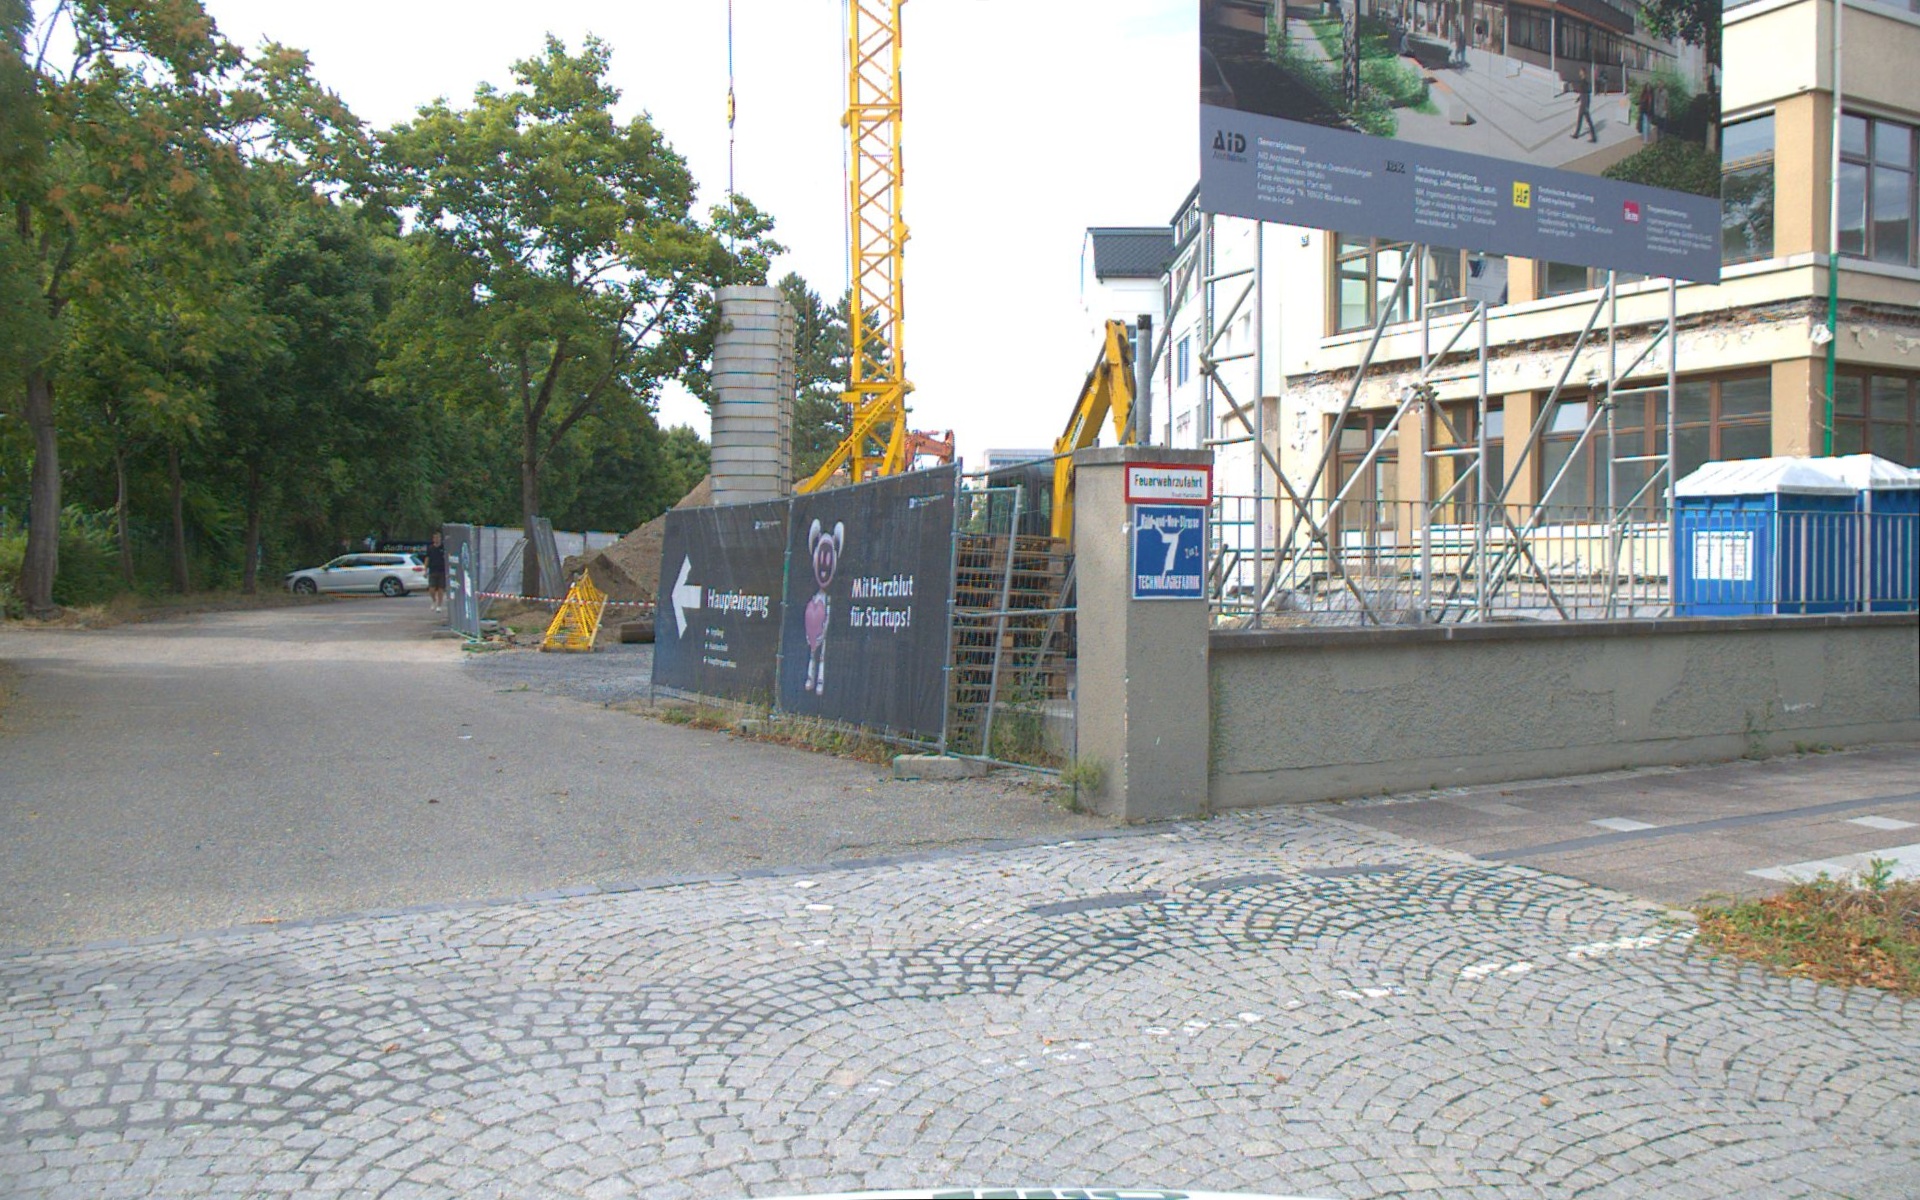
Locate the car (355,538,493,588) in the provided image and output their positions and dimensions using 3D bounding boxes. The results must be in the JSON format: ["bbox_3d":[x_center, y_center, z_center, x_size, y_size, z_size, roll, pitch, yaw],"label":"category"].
[{"bbox_3d":[-21.615,-1.495,66.857,4.947,1.987,1.998,0,1,-5],"label":"car"}]

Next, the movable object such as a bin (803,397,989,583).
[{"bbox_3d":[-2.311,-4.196,66.335,3.764,6.785,10.994,1,2,19],"label":"movable object such as a bin"}]

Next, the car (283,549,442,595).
[{"bbox_3d":[-20.007,-0.954,55.588,4.703,1.514,1.996,0,1,-9],"label":"car"}]

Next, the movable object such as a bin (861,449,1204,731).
[{"bbox_3d":[0.614,-0.136,16.414,2.453,2.485,3.044,0,1,-20],"label":"movable object such as a bin"}]

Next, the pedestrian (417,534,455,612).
[{"bbox_3d":[-12.354,-0.630,39.010,0.733,1.821,0.729,0,1,-8],"label":"pedestrian"}]
